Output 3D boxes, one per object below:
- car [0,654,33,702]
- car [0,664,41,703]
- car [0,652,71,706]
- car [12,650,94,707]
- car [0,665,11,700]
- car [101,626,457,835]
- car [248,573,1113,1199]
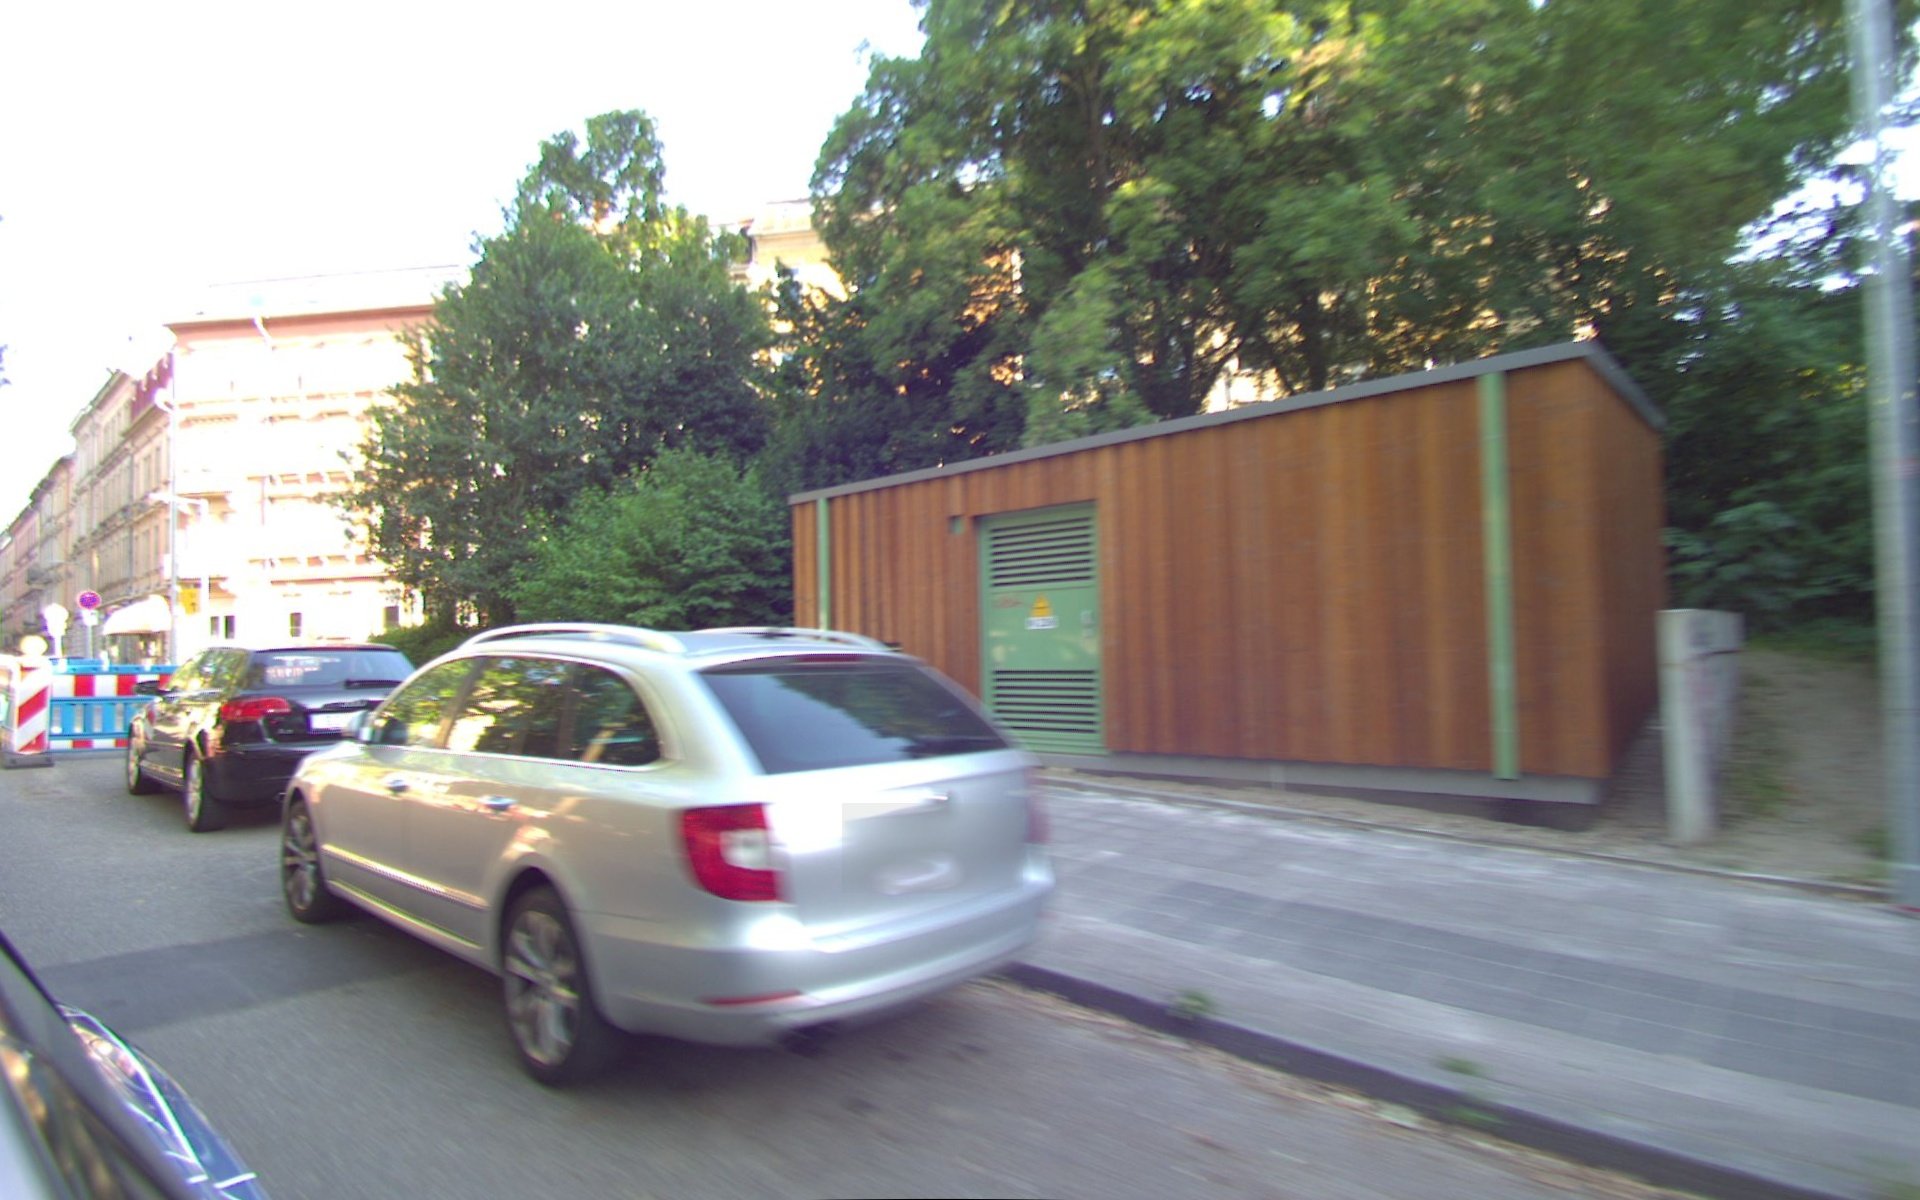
[{"bbox_3d":[-45.639,3.688,48.283,4.194,2.132,1.680,-2,-4,43],"label":"car"},{"bbox_3d":[-41.851,3.638,44.553,4.194,1.581,1.680,-2,-4,43],"label":"car"},{"bbox_3d":[-34.715,2.905,37.902,4.194,1.854,1.680,-2,-4,43],"label":"car"},{"bbox_3d":[-31.135,2.641,34.712,4.194,1.818,1.680,-2,-4,43],"label":"car"},{"bbox_3d":[-53.110,4.468,55.198,4.194,1.764,1.680,-2,-4,43],"label":"car"},{"bbox_3d":[-6.136,0.967,8.912,4.194,1.410,1.680,-2,-4,43],"label":"car"},{"bbox_3d":[-1.668,0.778,4.631,4.550,1.509,1.680,-2,-4,43],"label":"car"}]
